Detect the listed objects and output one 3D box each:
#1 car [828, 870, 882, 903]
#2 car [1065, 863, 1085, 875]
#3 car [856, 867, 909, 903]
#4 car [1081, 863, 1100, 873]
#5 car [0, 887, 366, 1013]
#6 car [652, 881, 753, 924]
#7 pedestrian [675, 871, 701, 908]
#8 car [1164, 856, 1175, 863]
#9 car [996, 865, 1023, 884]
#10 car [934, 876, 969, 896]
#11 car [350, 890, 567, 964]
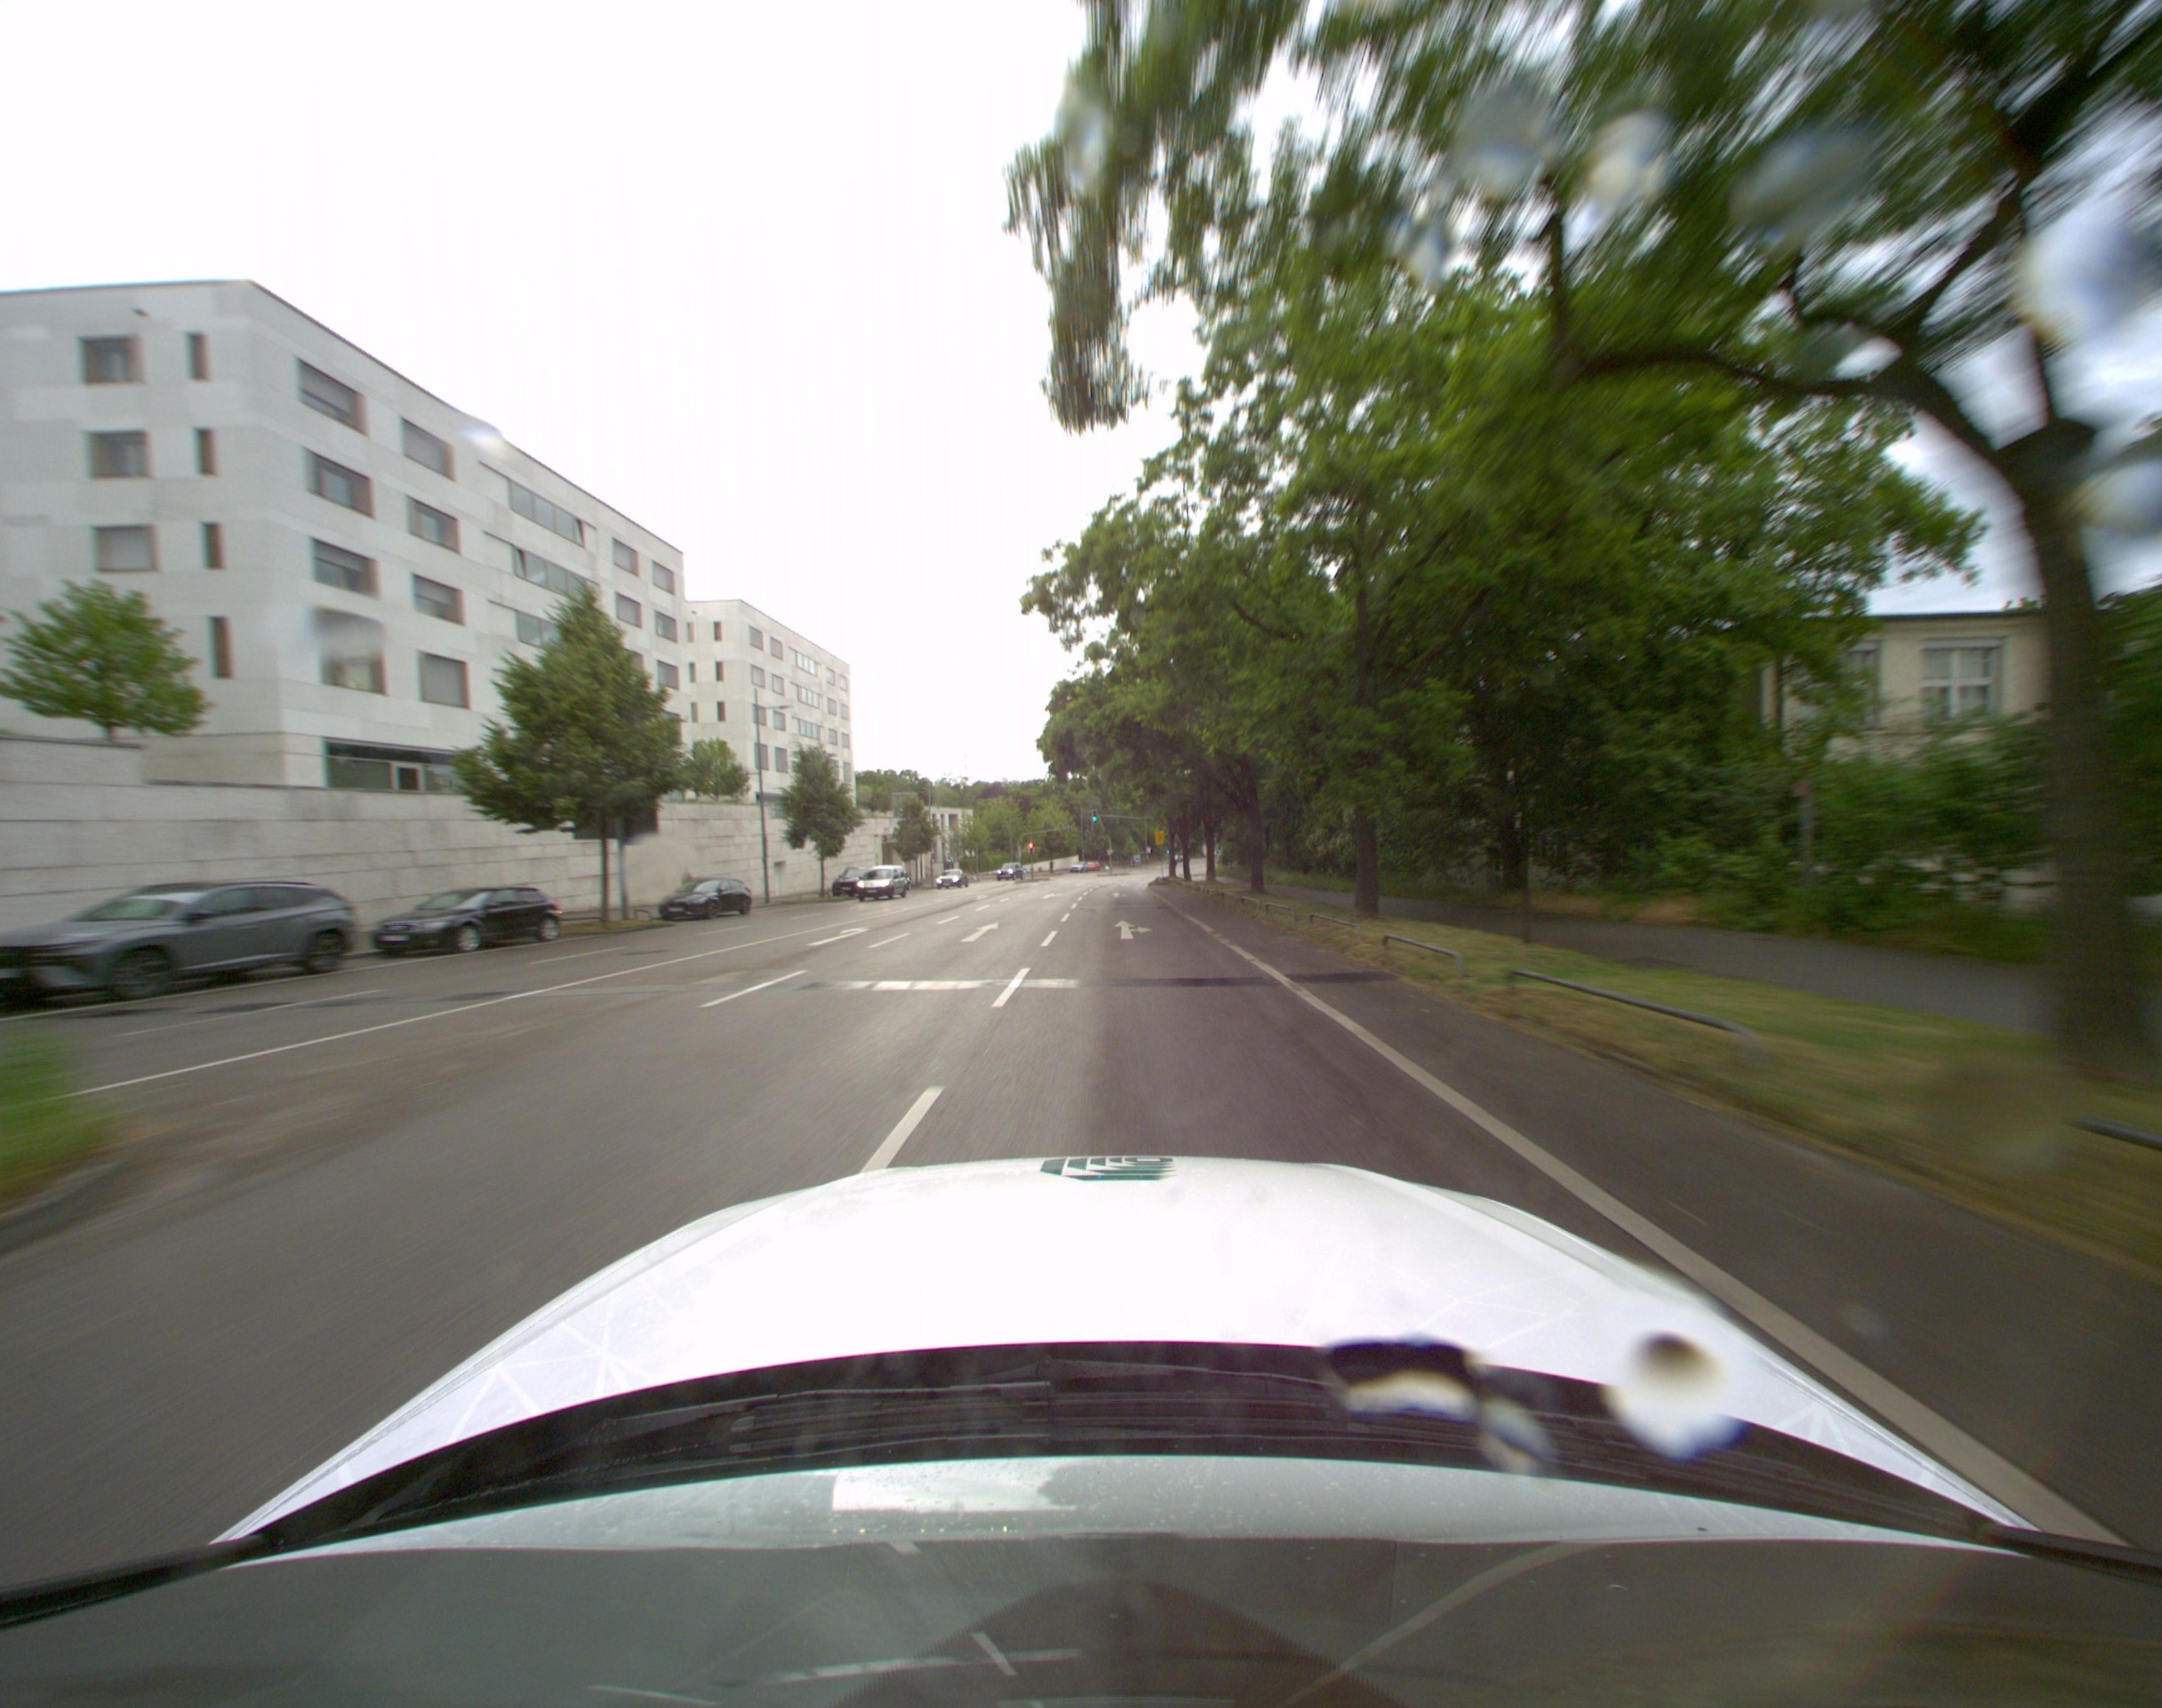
[{"bbox_3d":[-13.364,1.874,48.427,1.851,1.781,4.595,-2,-1,0],"label":"car"},{"bbox_3d":[-0.893,2.274,123.839,1.838,1.640,4.113,2,0,19],"label":"car"},{"bbox_3d":[-10.579,1.621,43.703,1.704,1.746,4.338,-2,-1,1],"label":"car"},{"bbox_3d":[1.592,2.197,131.178,1.860,1.575,4.241,1,0,17],"label":"car"},{"bbox_3d":[-14.317,1.377,13.067,1.696,1.620,4.363,-1,-2,2],"label":"car"},{"bbox_3d":[-13.697,1.715,29.732,1.672,1.426,3.967,0,-1,2],"label":"car"},{"bbox_3d":[-19.241,1.744,39.891,0.705,1.775,1.021,-2,-1,1],"label":"pedestrian"},{"bbox_3d":[19.862,1.185,182.616,1.698,1.461,3.769,-1,-1,20],"label":"car"},{"bbox_3d":[-7.831,2.239,89.051,1.911,1.857,4.514,-5,-1,7],"label":"car"},{"bbox_3d":[-9.885,2.456,62.468,1.763,1.381,4.191,-3,-1,2],"label":"car"},{"bbox_3d":[-14.182,1.604,18.899,1.688,1.360,4.165,-1,-1,3],"label":"car"}]
